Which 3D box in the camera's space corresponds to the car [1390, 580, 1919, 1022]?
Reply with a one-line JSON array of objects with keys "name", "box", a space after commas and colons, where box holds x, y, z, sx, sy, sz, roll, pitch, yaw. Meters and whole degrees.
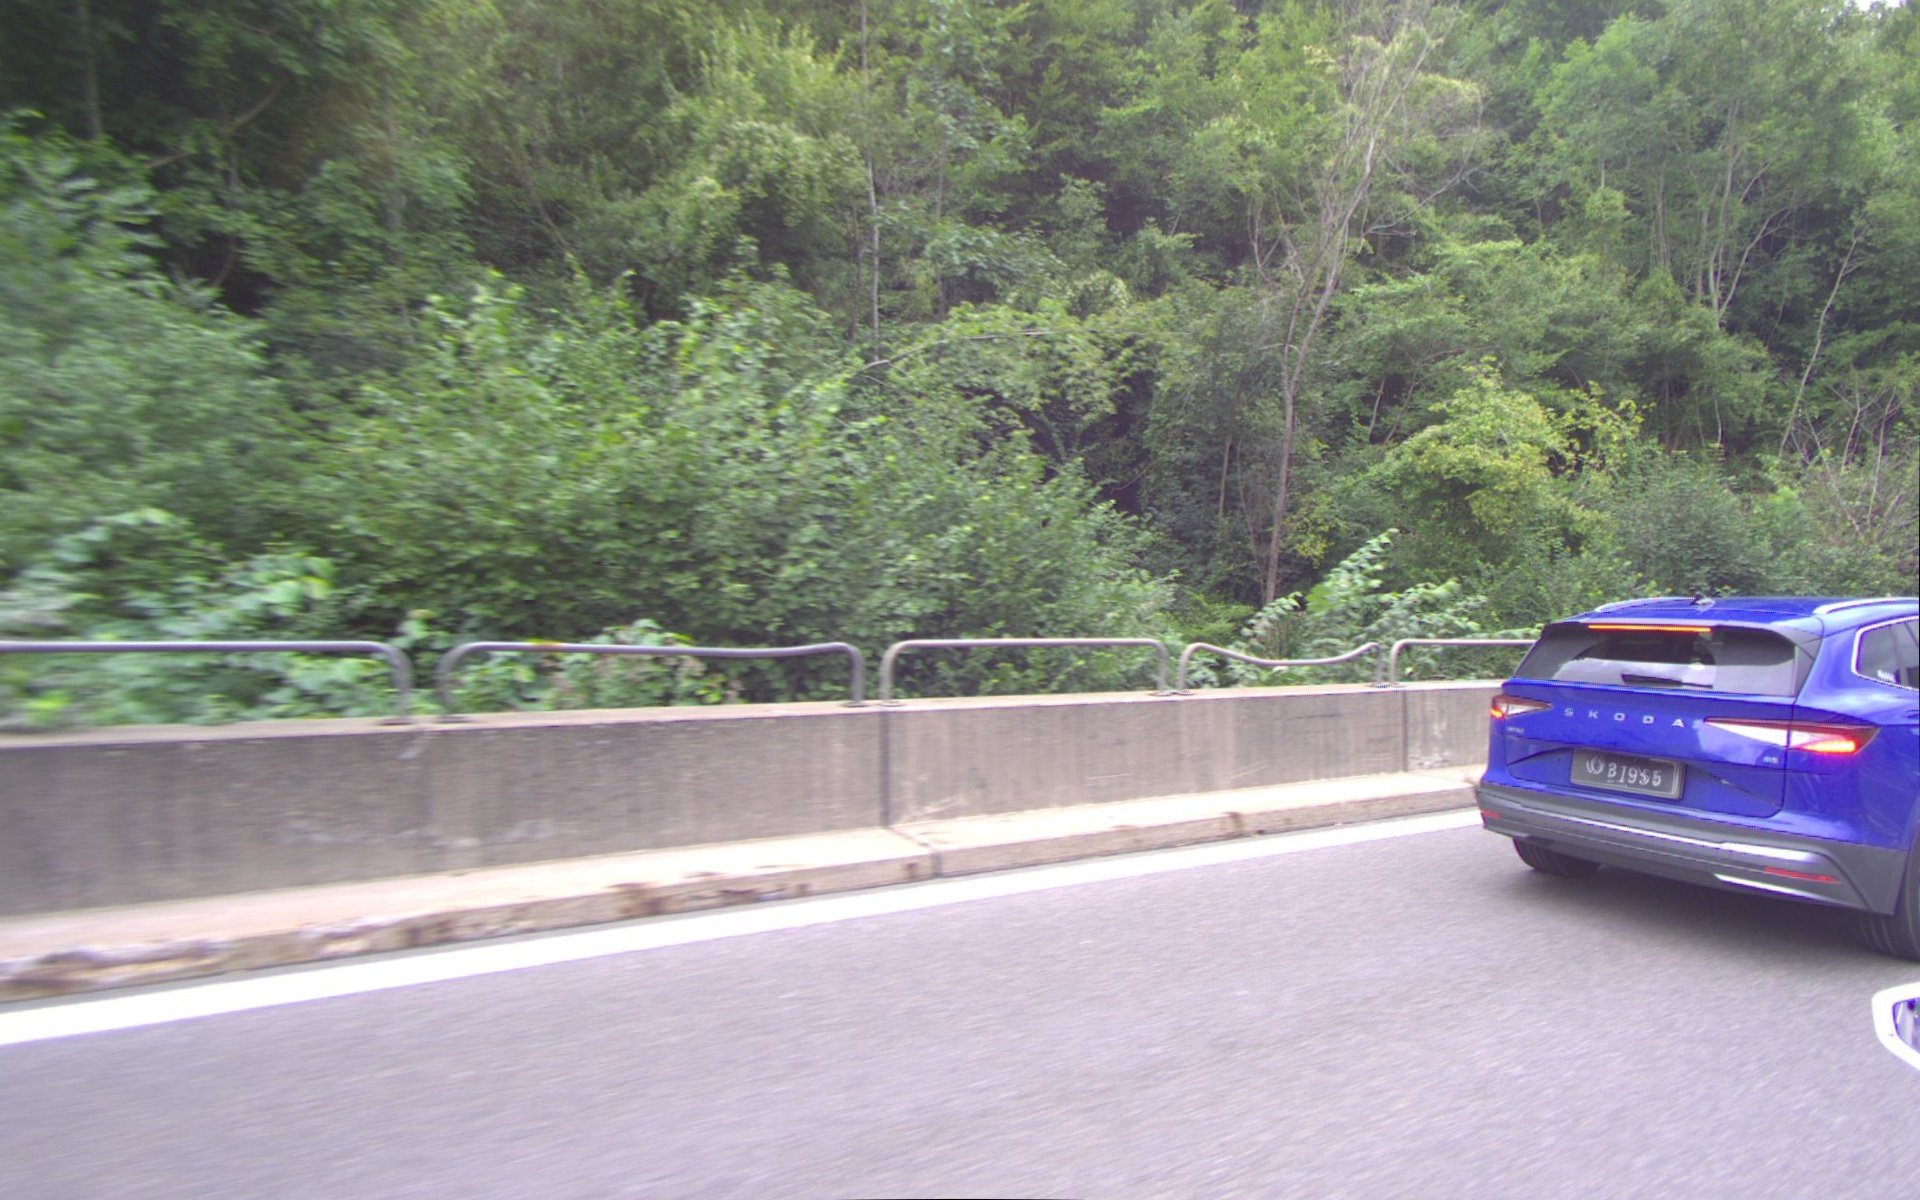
[{"name": "car", "box": [4.997, 0.783, 5.843, 4.948, 1.654, 1.984, 1, 1, -29]}]
